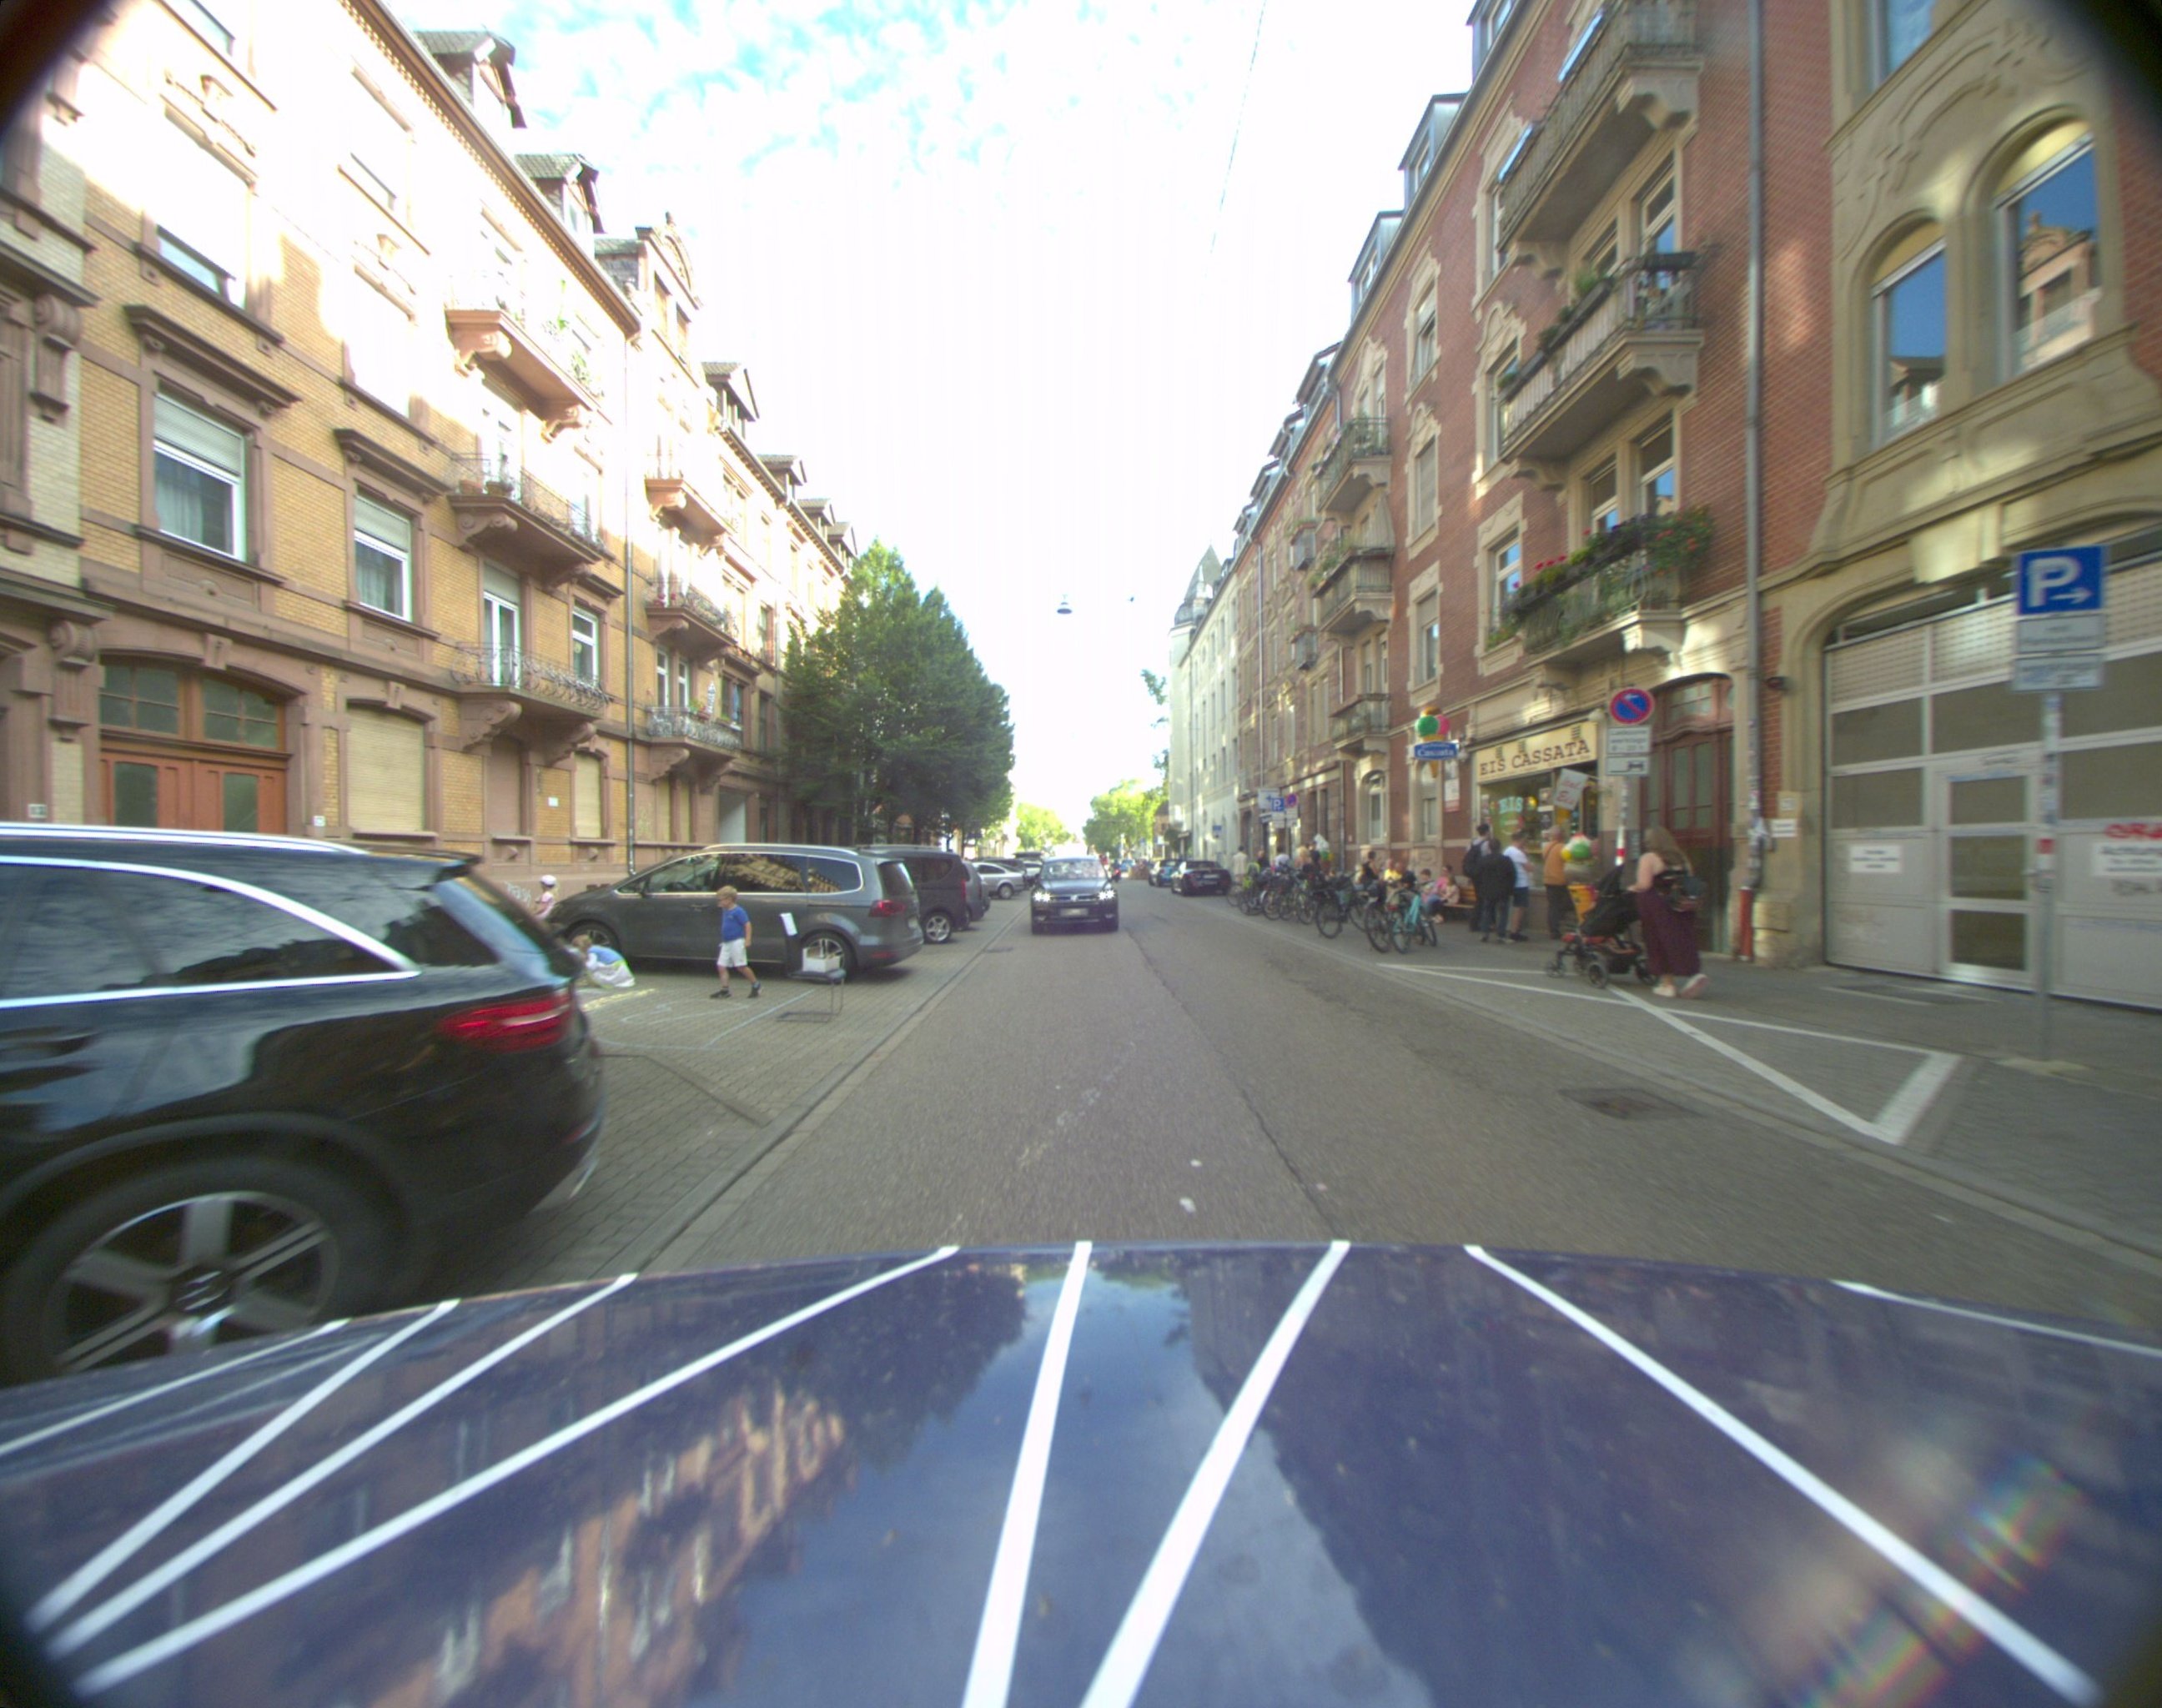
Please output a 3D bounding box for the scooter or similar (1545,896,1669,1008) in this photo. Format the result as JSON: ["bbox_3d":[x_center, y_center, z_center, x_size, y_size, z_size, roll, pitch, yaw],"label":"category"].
[{"bbox_3d":[5.534,1.000,8.050,0.607,1.049,0.922,-2,0,-5],"label":"scooter or similar"}]

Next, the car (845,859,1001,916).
[{"bbox_3d":[-4.539,0.969,21.975,4.008,1.442,1.731,3,0,-32],"label":"car"}]

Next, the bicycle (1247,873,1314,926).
[{"bbox_3d":[4.602,1.022,17.473,1.573,1.114,0.589,-2,0,-36],"label":"bicycle"}]

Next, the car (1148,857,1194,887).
[{"bbox_3d":[4.675,0.914,40.036,1.674,1.407,4.011,-2,0,-4],"label":"car"}]

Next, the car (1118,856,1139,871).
[{"bbox_3d":[4.768,0.924,76.485,1.828,1.477,4.170,-2,0,0],"label":"car"}]

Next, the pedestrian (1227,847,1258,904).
[{"bbox_3d":[5.251,0.701,24.751,0.761,1.808,0.667,-2,0,30],"label":"pedestrian"}]

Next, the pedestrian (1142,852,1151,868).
[{"bbox_3d":[6.935,0.663,80.987,0.845,1.699,0.879,-2,0,0],"label":"pedestrian"}]

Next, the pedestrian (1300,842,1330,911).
[{"bbox_3d":[6.501,0.619,21.099,0.646,1.881,0.602,-2,0,30],"label":"pedestrian"}]

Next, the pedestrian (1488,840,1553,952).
[{"bbox_3d":[6.926,0.641,11.974,0.667,1.686,0.584,-2,0,-29],"label":"pedestrian"}]

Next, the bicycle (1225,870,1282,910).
[{"bbox_3d":[4.984,1.039,21.991,1.577,1.110,0.375,-2,0,39],"label":"bicycle"}]

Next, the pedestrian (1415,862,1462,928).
[{"bbox_3d":[7.310,0.831,15.559,0.719,1.306,0.439,-2,0,-4],"label":"pedestrian"}]

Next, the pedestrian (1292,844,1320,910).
[{"bbox_3d":[6.038,0.612,20.382,0.605,1.741,0.726,-2,0,10],"label":"pedestrian"}]

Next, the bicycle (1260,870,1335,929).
[{"bbox_3d":[4.820,0.986,16.858,1.794,1.193,0.589,-2,0,-36],"label":"bicycle"}]

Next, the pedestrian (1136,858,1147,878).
[{"bbox_3d":[4.324,1.003,54.546,0.739,1.341,0.644,-2,0,2],"label":"pedestrian"}]

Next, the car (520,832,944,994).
[{"bbox_3d":[-4.304,0.738,9.969,4.649,1.774,1.810,2,-2,-1],"label":"car"}]

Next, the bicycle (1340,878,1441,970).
[{"bbox_3d":[4.691,0.983,11.416,0.806,1.152,2.274,-2,0,37],"label":"bicycle"}]

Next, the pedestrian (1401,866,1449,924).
[{"bbox_3d":[7.276,0.858,16.080,0.710,1.189,0.586,-2,0,-4],"label":"pedestrian"}]

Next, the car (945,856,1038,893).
[{"bbox_3d":[-4.255,0.947,36.403,4.008,1.689,1.848,0,-1,-35],"label":"car"}]

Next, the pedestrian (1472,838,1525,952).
[{"bbox_3d":[6.406,0.608,11.659,0.645,1.686,0.566,-2,0,32],"label":"pedestrian"}]

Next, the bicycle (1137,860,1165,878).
[{"bbox_3d":[4.842,1.027,52.842,1.872,1.168,0.688,-2,0,2],"label":"bicycle"}]

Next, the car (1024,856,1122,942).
[{"bbox_3d":[-0.048,0.912,17.387,1.874,1.644,4.388,-2,0,4],"label":"car"}]

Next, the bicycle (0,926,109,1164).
[{"bbox_3d":[-5.808,1.003,3.591,0.811,1.140,1.931,0,0,-29],"label":"bicycle"}]

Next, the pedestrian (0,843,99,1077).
[{"bbox_3d":[-7.907,0.755,5.550,0.574,1.649,0.632,-2,0,0],"label":"pedestrian"}]

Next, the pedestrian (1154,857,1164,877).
[{"bbox_3d":[5.560,0.935,53.867,0.637,1.364,0.684,-2,0,3],"label":"pedestrian"}]

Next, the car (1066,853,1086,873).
[{"bbox_3d":[-0.486,0.953,78.867,1.811,1.914,4.000,-3,0,1],"label":"car"}]

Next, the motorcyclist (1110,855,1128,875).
[{"bbox_3d":[2.507,0.729,49.697,1.016,1.238,0.802,-2,0,-6],"label":"motorcyclist"}]

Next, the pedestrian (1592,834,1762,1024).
[{"bbox_3d":[5.569,0.660,7.152,0.914,1.651,0.827,-2,0,-8],"label":"pedestrian"}]

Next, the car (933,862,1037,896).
[{"bbox_3d":[-4.182,1.055,33.475,4.146,1.409,1.864,0,-1,-36],"label":"car"}]

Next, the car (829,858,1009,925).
[{"bbox_3d":[-4.064,0.920,19.313,4.009,1.539,1.864,2,-1,-37],"label":"car"}]

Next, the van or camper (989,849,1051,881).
[{"bbox_3d":[-4.427,0.760,55.231,4.006,2.166,1.995,-2,0,-30],"label":"van or camper"}]

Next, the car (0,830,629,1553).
[{"bbox_3d":[-3.934,0.838,2.083,4.466,1.722,1.995,-1,0,-35],"label":"car"}]

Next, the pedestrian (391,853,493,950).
[{"bbox_3d":[-10.136,0.739,12.085,0.930,1.488,0.812,0,0,-7],"label":"pedestrian"}]

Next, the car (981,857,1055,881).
[{"bbox_3d":[-4.341,1.051,52.690,4.817,1.535,1.866,1,0,-32],"label":"car"}]

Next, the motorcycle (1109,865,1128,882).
[{"bbox_3d":[2.457,1.258,49.767,0.796,0.989,2.498,-2,0,-7],"label":"motorcycle"}]

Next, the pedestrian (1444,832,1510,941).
[{"bbox_3d":[6.920,0.548,13.282,0.764,1.843,0.664,-2,0,-31],"label":"pedestrian"}]

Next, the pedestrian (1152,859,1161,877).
[{"bbox_3d":[5.485,1.011,55.240,0.597,1.236,0.694,-2,0,7],"label":"pedestrian"}]

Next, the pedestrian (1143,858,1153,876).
[{"bbox_3d":[4.862,0.943,55.344,0.668,1.328,0.740,-2,0,7],"label":"pedestrian"}]

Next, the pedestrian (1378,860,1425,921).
[{"bbox_3d":[7.057,0.797,16.755,0.725,1.306,0.606,-2,0,-4],"label":"pedestrian"}]

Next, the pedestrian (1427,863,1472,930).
[{"bbox_3d":[7.340,0.842,15.148,0.703,1.306,0.373,-2,1,-4],"label":"pedestrian"}]

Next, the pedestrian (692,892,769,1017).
[{"bbox_3d":[-3.753,1.047,8.147,0.470,1.244,0.510,4,1,29],"label":"pedestrian"}]

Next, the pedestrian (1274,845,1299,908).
[{"bbox_3d":[5.823,0.618,21.579,0.605,1.741,0.946,-2,0,12],"label":"pedestrian"}]

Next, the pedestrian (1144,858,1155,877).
[{"bbox_3d":[4.874,0.945,53.969,0.689,1.365,0.739,-2,0,3],"label":"pedestrian"}]

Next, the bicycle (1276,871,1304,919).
[{"bbox_3d":[5.258,1.012,19.156,0.579,1.084,1.740,-2,0,13],"label":"bicycle"}]

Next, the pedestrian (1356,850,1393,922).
[{"bbox_3d":[6.696,0.717,17.351,0.554,1.607,0.584,-2,0,0],"label":"pedestrian"}]

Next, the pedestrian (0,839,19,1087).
[{"bbox_3d":[-7.588,0.741,4.928,0.649,1.685,0.697,-2,1,-43],"label":"pedestrian"}]

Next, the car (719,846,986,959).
[{"bbox_3d":[-4.165,0.817,14.087,4.412,1.812,1.750,1,0,-32],"label":"car"}]

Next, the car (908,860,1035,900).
[{"bbox_3d":[-4.298,1.024,30.124,4.620,1.443,1.788,1,0,-32],"label":"car"}]

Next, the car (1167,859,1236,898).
[{"bbox_3d":[4.724,0.925,30.435,1.816,1.343,5.114,-1,0,-1],"label":"car"}]

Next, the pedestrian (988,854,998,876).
[{"bbox_3d":[-7.218,0.879,62.447,0.755,1.728,0.952,3,0,-5],"label":"pedestrian"}]

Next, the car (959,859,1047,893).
[{"bbox_3d":[-3.977,1.094,39.234,4.133,1.512,1.840,-2,1,-37],"label":"car"}]

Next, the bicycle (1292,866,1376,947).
[{"bbox_3d":[4.577,0.914,13.694,1.680,1.314,0.526,-2,0,-36],"label":"bicycle"}]

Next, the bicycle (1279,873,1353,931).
[{"bbox_3d":[5.056,1.004,16.270,1.741,1.114,0.554,-2,0,-36],"label":"bicycle"}]

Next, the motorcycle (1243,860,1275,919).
[{"bbox_3d":[4.566,0.874,19.372,0.708,1.376,2.026,-2,0,14],"label":"motorcycle"}]

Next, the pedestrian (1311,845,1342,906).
[{"bbox_3d":[7.286,0.635,22.555,0.688,1.749,0.667,-2,0,30],"label":"pedestrian"}]

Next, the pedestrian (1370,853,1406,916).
[{"bbox_3d":[7.229,0.707,17.903,0.605,1.461,0.726,-2,0,10],"label":"pedestrian"}]

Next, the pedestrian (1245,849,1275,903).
[{"bbox_3d":[5.916,0.710,25.116,0.761,1.749,0.667,-2,0,30],"label":"pedestrian"}]

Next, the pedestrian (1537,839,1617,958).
[{"bbox_3d":[7.387,0.642,11.346,0.665,1.686,0.763,-2,0,0],"label":"pedestrian"}]

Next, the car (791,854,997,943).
[{"bbox_3d":[-4.071,0.902,16.639,4.007,1.730,1.835,1,0,-31],"label":"car"}]
